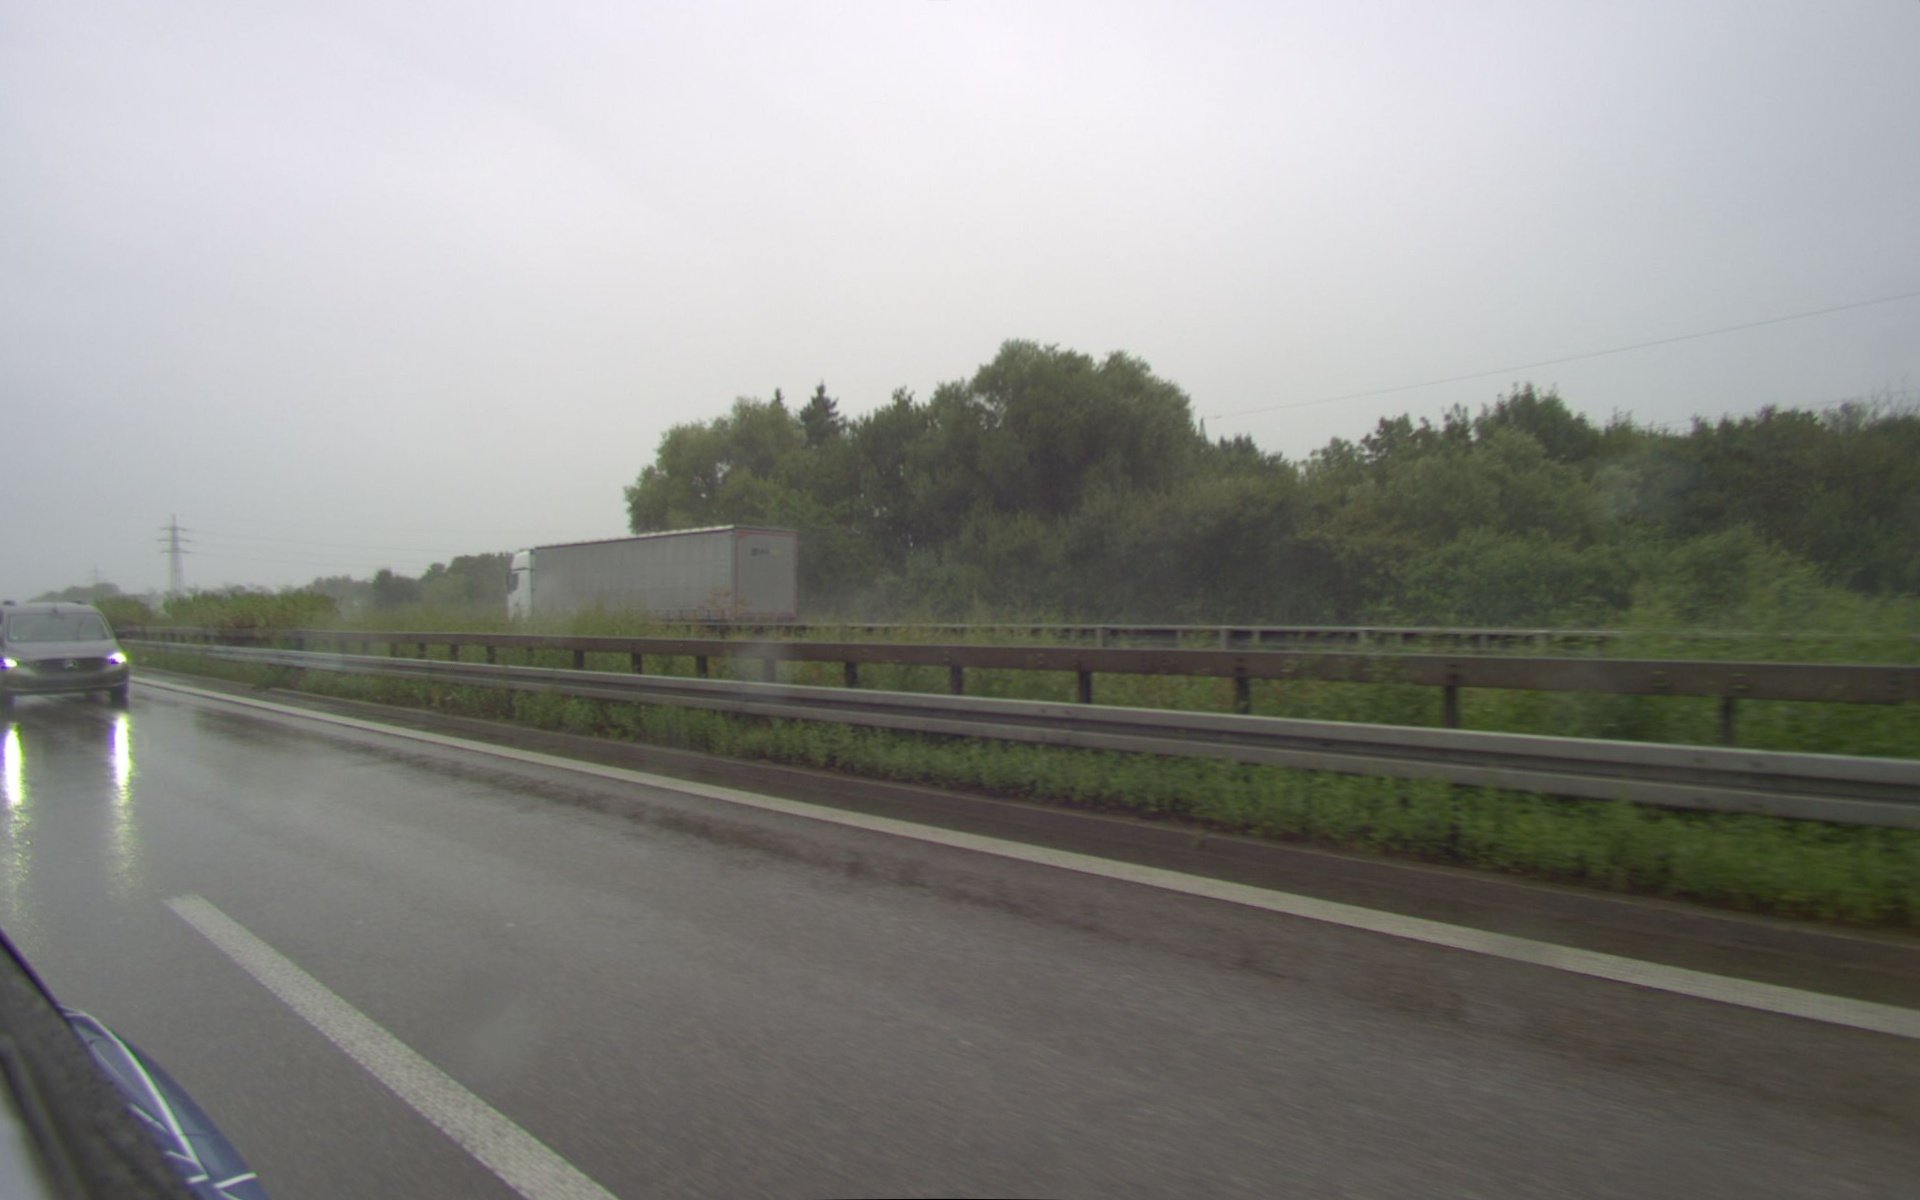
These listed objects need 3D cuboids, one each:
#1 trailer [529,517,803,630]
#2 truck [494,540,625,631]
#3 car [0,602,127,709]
[{"bbox_3d":[-11.131,-0.724,36.718,13.441,3.433,2.646,-2,1,41],"label":"trailer"},{"bbox_3d":[-16.462,-0.555,41.438,5.524,3.442,2.640,-2,1,41],"label":"truck"},{"bbox_3d":[-17.044,0.970,18.856,2.018,1.787,4.504,0,-1,-44],"label":"car"}]
